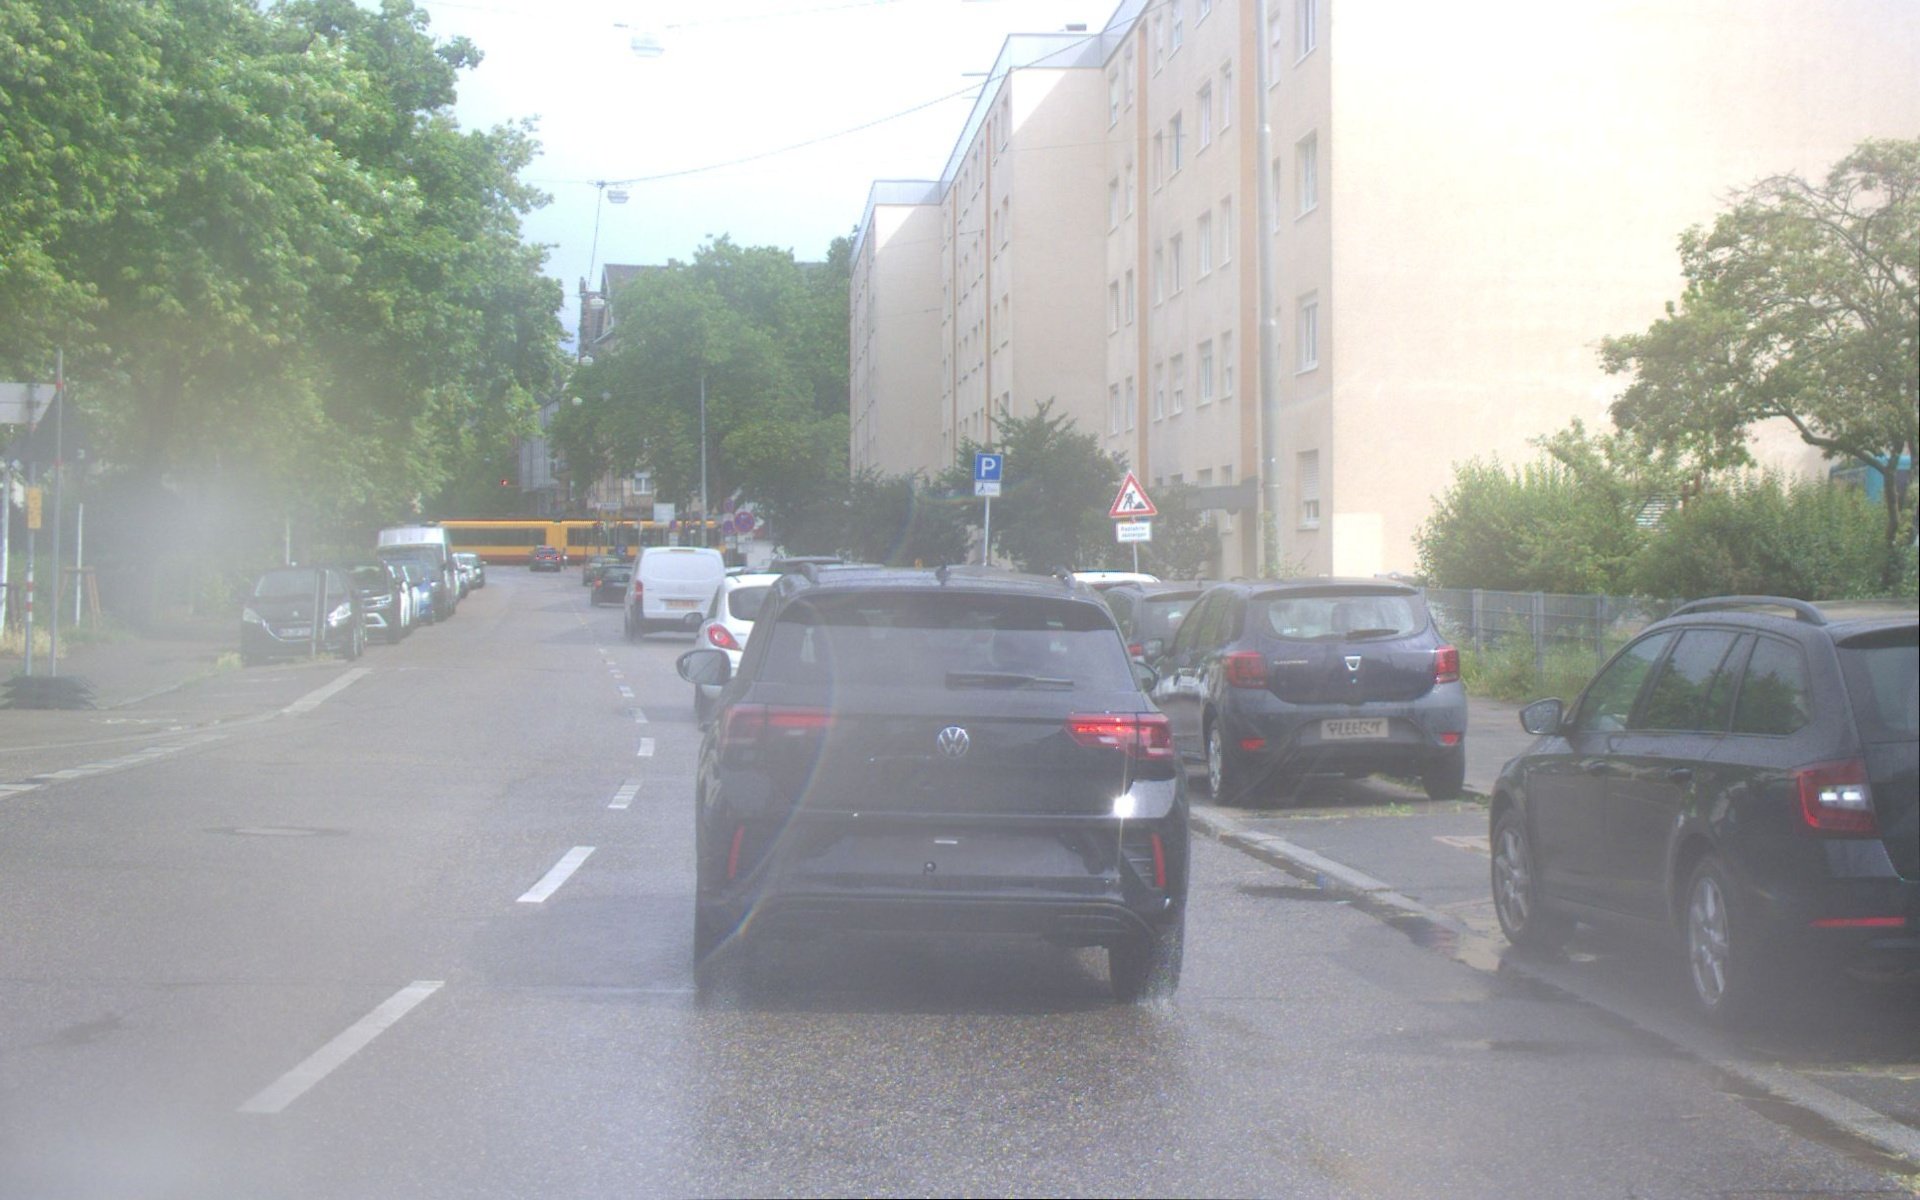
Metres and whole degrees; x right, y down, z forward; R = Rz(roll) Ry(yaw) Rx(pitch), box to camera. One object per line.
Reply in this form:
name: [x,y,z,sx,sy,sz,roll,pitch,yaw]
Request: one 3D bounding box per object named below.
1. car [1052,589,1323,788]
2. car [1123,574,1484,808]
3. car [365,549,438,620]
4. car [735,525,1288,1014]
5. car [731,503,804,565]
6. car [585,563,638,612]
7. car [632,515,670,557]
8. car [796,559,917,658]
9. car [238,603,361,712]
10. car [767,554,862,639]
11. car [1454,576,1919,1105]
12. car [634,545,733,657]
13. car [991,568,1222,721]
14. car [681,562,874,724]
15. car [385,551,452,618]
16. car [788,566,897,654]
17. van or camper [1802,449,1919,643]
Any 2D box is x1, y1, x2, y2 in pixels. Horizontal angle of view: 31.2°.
car: [1.857,0.692,29.271,1.604,1.503,4.161,-2,0,-5]
car: [2.350,0.594,24.522,1.756,1.522,4.001,0,0,-6]
car: [-13.335,-0.391,82.264,1.585,1.634,3.921,-1,1,-8]
car: [0.067,0.591,13.958,1.873,1.640,4.062,2,0,-3]
car: [-5.117,-1.751,91.945,1.840,1.602,3.676,-1,1,-2]
car: [-11.283,-0.415,111.128,1.604,1.505,3.549,-1,1,-7]
car: [-13.892,-2.855,154.450,1.665,1.831,4.001,-1,1,-5]
car: [-1.753,0.112,56.935,1.695,1.533,4.033,-1,1,-6]
car: [-9.997,0.842,52.253,1.585,1.500,4.065,-1,1,-8]
car: [-3.018,-0.102,70.667,1.604,1.667,4.033,-1,1,-7]
car: [3.237,0.725,12.837,1.774,1.534,4.379,-2,1,-5]
car: [-5.504,0.025,68.504,1.836,2.096,4.000,2,0,-4]
car: [1.463,0.462,35.772,1.748,1.503,4.112,0,-1,-7]
car: [-1.867,0.420,35.144,1.813,1.498,4.000,2,0,-3]
car: [-13.856,-0.415,88.132,1.585,1.634,3.921,-1,1,-8]
car: [-2.166,0.156,62.388,1.604,1.500,4.033,-1,1,-7]
van or camper: [12.178,-0.608,38.847,4.759,2.124,2.322,0,1,1]
